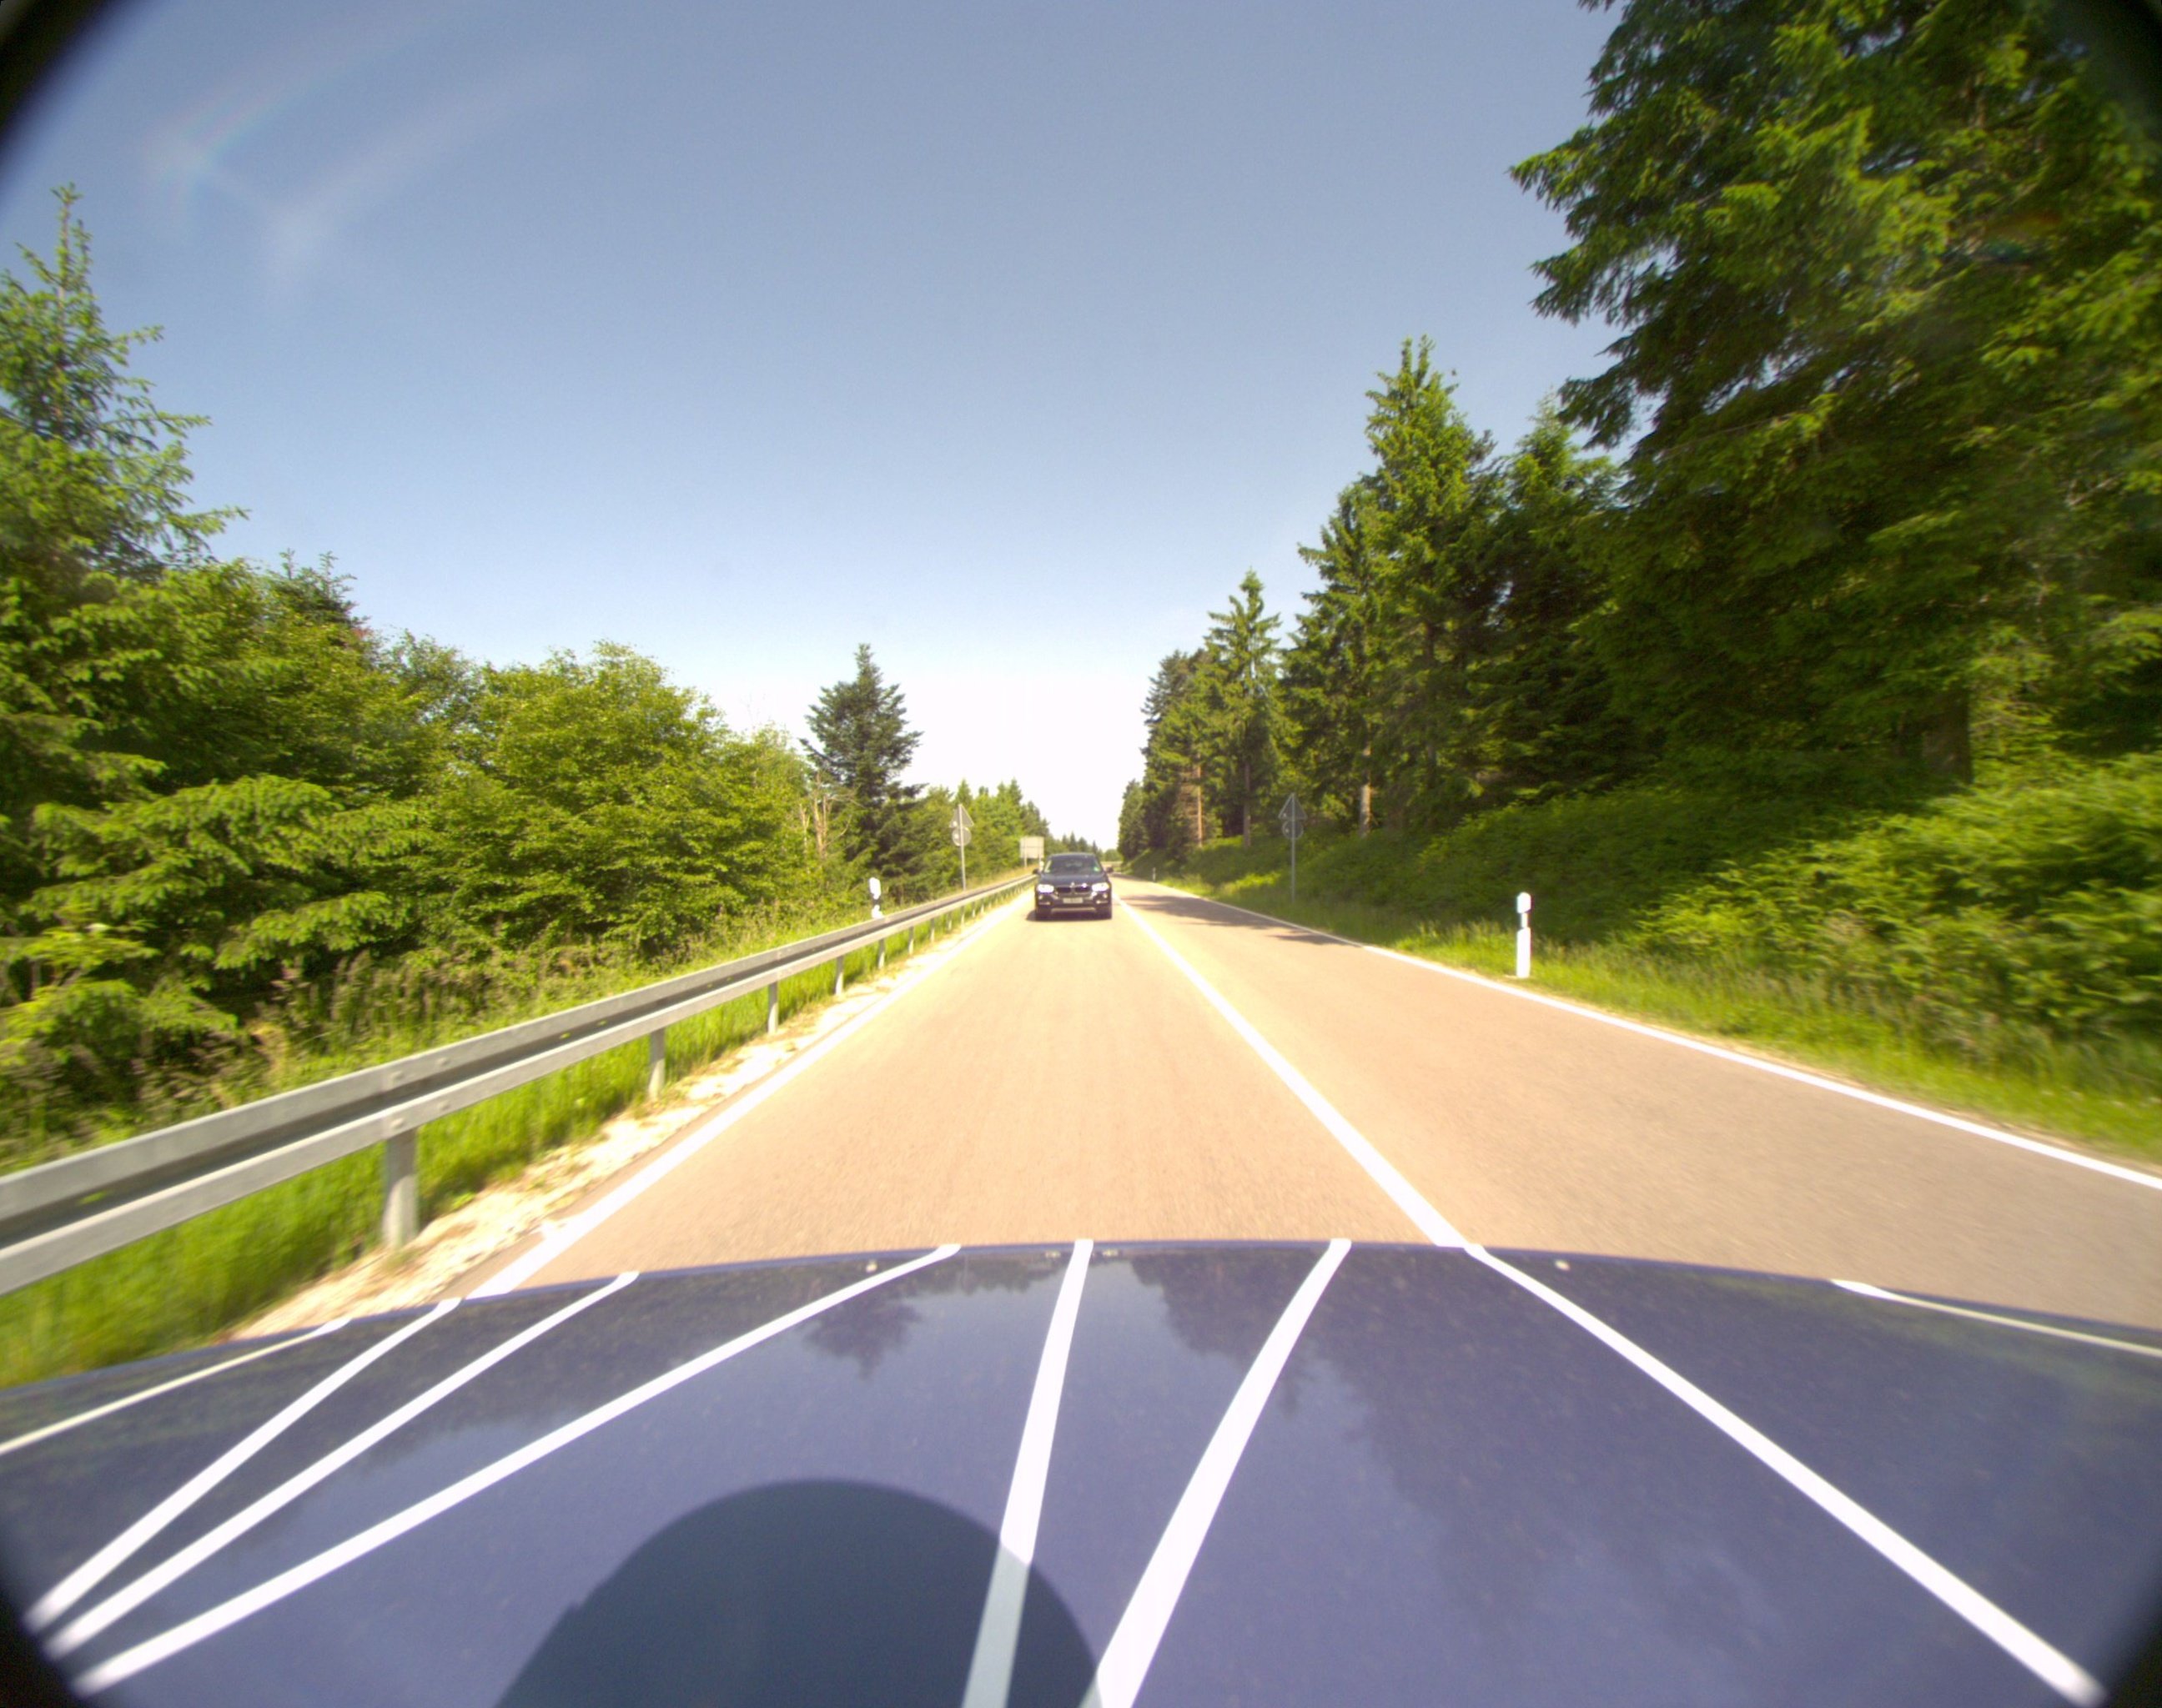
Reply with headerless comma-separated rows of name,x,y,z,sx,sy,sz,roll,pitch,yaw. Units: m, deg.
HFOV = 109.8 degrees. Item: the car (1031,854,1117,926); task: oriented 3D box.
car,-0.178,0.880,21.104,1.999,1.676,5.936,-1,0,0
